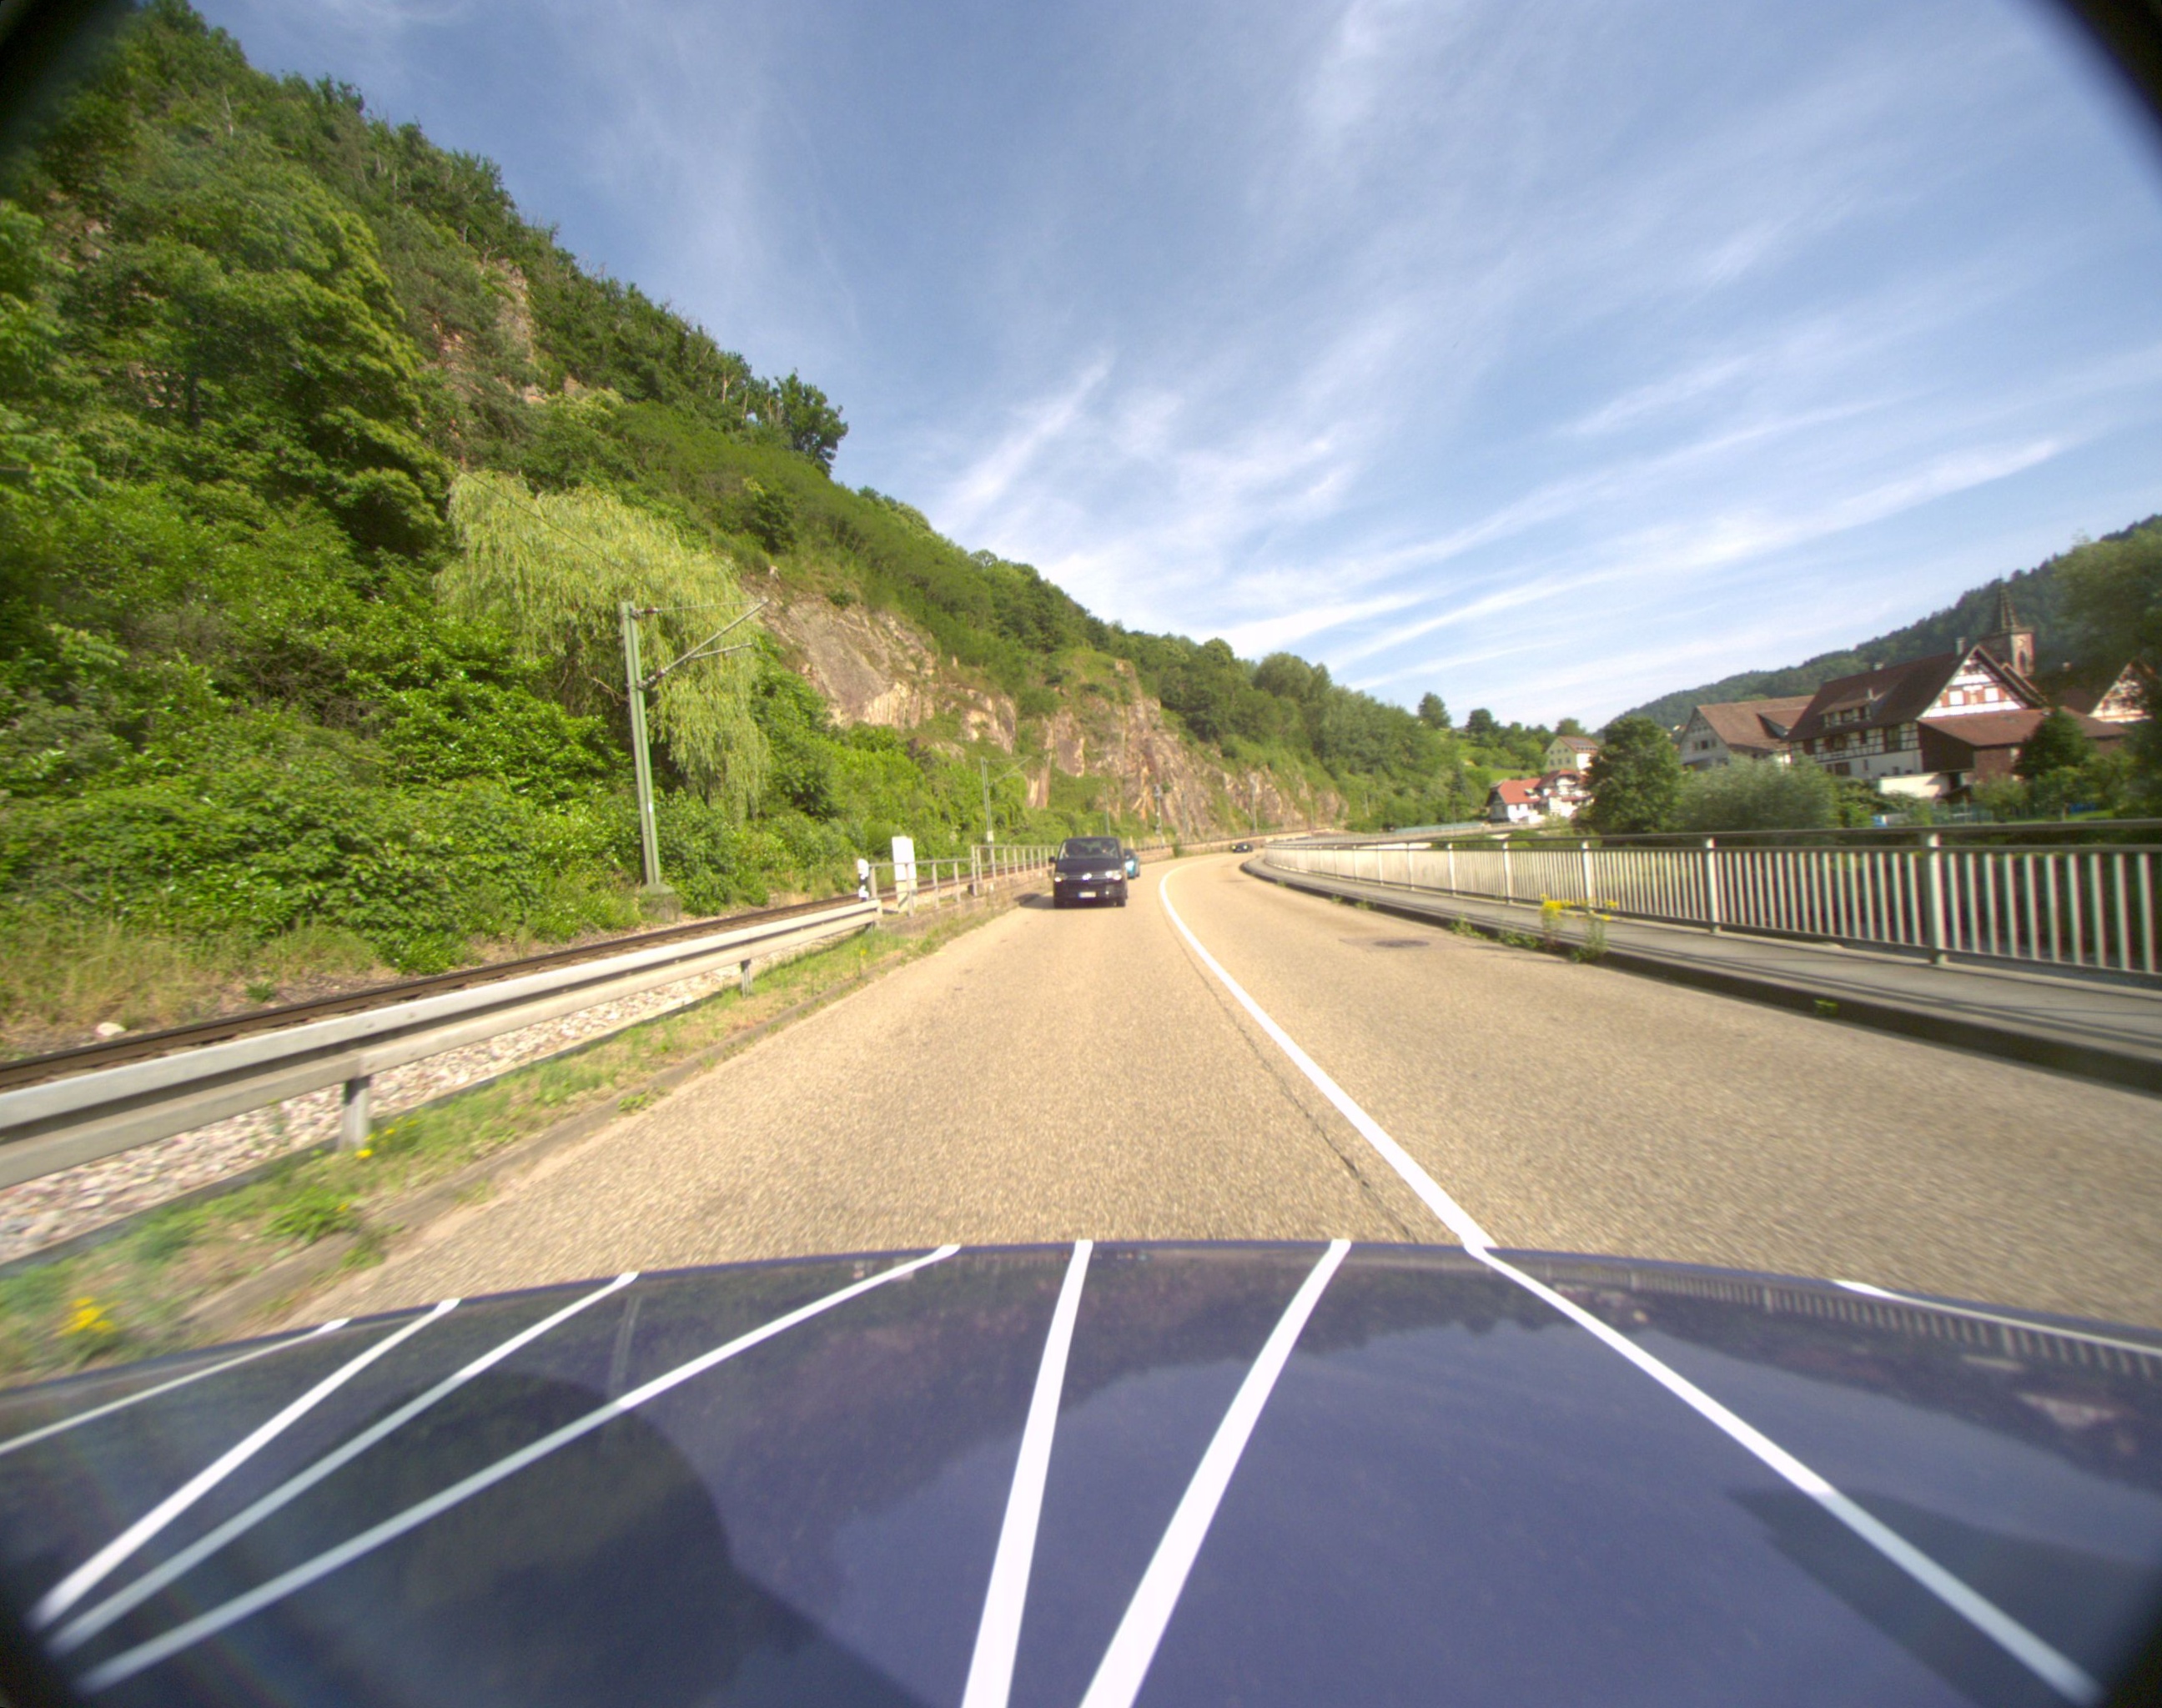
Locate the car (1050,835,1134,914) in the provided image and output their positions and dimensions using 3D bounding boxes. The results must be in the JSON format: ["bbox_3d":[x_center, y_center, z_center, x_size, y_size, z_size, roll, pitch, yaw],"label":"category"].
[{"bbox_3d":[0.446,0.488,21.696,1.886,1.952,4.867,-2,1,6],"label":"car"}]

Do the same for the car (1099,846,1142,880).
[{"bbox_3d":[2.037,0.397,38.323,1.682,1.513,3.868,-3,1,9],"label":"car"}]

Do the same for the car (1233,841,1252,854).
[{"bbox_3d":[20.061,-0.802,94.463,1.701,1.513,3.478,2,1,21],"label":"car"}]
